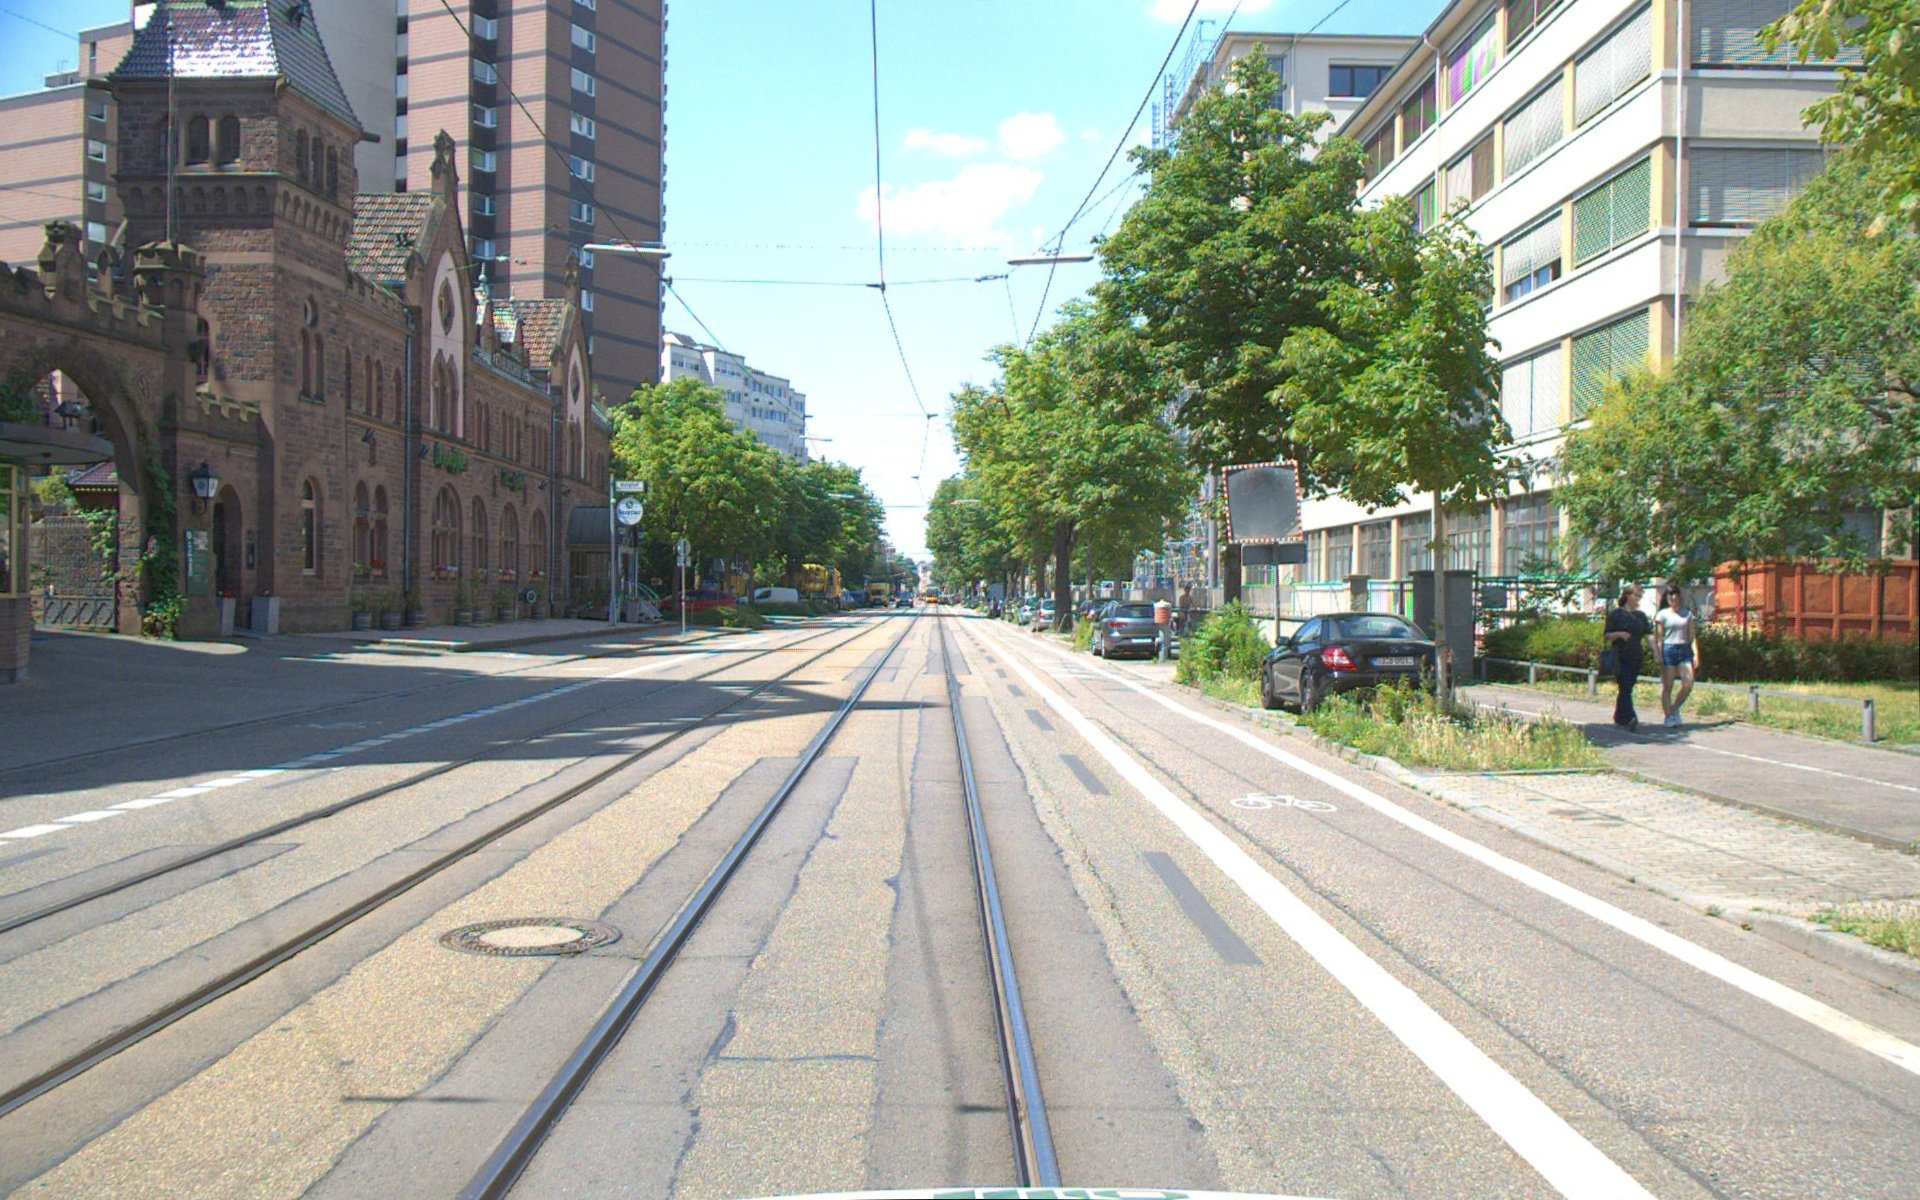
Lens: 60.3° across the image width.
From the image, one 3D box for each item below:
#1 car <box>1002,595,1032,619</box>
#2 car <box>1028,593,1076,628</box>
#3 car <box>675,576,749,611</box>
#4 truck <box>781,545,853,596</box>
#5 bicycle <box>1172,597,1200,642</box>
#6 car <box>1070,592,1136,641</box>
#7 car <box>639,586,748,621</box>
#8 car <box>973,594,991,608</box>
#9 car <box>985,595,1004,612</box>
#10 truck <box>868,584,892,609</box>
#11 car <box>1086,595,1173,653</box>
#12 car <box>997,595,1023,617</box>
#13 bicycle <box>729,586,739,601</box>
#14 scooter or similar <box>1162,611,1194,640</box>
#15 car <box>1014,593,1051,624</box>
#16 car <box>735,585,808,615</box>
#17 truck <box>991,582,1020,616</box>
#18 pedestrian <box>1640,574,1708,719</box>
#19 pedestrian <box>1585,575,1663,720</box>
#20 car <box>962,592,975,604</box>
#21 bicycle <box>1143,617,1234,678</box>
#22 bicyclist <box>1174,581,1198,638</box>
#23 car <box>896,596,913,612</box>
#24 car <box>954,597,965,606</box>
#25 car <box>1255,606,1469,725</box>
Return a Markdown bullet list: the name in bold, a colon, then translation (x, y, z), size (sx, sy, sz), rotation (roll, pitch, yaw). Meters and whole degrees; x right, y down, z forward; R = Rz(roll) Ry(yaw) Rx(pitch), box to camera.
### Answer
- **car**: translation (3.632, 0.405, 105.869), size (1.787, 1.497, 4.486), rotation (0, 0, 0)
- **car**: translation (4.038, 0.449, 73.234), size (1.638, 1.525, 4.362), rotation (0, 0, -4)
- **car**: translation (-19.741, -0.505, 132.001), size (2.137, 2.611, 6.712), rotation (0, -1, 29)
- **truck**: translation (-11.982, -2.389, 140.030), size (2.657, 3.909, 10.972), rotation (2, -1, 13)
- **bicycle**: translation (6.708, 0.561, 49.186), size (0.543, 1.287, 1.773), rotation (-2, 0, -1)
- **car**: translation (4.520, 0.499, 52.804), size (1.637, 1.515, 3.979), rotation (0, 0, -2)
- **car**: translation (-12.565, 0.184, 78.072), size (4.713, 1.594, 1.982), rotation (1, 0, -30)
- **car**: translation (2.385, 0.115, 180.877), size (1.606, 1.511, 3.870), rotation (0, -1, -4)
- **car**: translation (3.050, 0.303, 147.160), size (1.610, 1.561, 3.785), rotation (0, 0, 1)
- **truck**: translation (-9.511, -0.454, 196.525), size (2.312, 2.902, 7.378), rotation (-1, 0, 1)
- **car**: translation (4.348, 0.583, 42.936), size (1.637, 1.432, 4.747), rotation (0, 0, -2)
- **car**: translation (3.548, 0.382, 116.678), size (1.786, 1.497, 4.401), rotation (0, 0, 2)
- **bicycle**: translation (-15.763, -0.450, 115.428), size (0.507, 1.065, 1.875), rotation (2, 0, -3)
- **scooter or similar**: translation (6.693, 0.778, 50.842), size (0.746, 0.821, 1.555), rotation (-2, 0, -1)
- **car**: translation (3.764, 0.415, 86.214), size (1.637, 1.544, 4.200), rotation (0, 0, -2)
- **car**: translation (-12.608, 0.007, 110.744), size (4.492, 1.822, 1.879), rotation (1, 0, -34)
- **truck**: translation (3.480, -0.098, 127.422), size (1.973, 2.532, 5.954), rotation (0, 0, -1)
- **pedestrian**: translation (8.065, 0.515, 18.703), size (0.502, 1.601, 0.544), rotation (-1, 0, -1)
- **pedestrian**: translation (7.491, 0.530, 18.688), size (0.606, 1.601, 0.610), rotation (-1, 0, -1)
- **car**: translation (1.137, -0.264, 221.833), size (1.560, 1.645, 3.906), rotation (-1, -1, -1)
- **bicycle**: translation (4.105, 0.846, 29.781), size (1.553, 1.078, 0.562), rotation (0, 0, -2)
- **bicyclist**: translation (6.714, 0.279, 49.122), size (0.569, 1.677, 0.599), rotation (-1, 0, -1)
- **car**: translation (-6.098, 0.382, 181.053), size (1.793, 1.710, 4.184), rotation (0, 0, -1)
- **car**: translation (-0.046, 0.266, 259.366), size (1.676, 1.448, 4.308), rotation (-1, -1, -1)
- **car**: translation (4.960, 0.760, 20.899), size (1.716, 1.293, 3.833), rotation (2, 0, -1)
